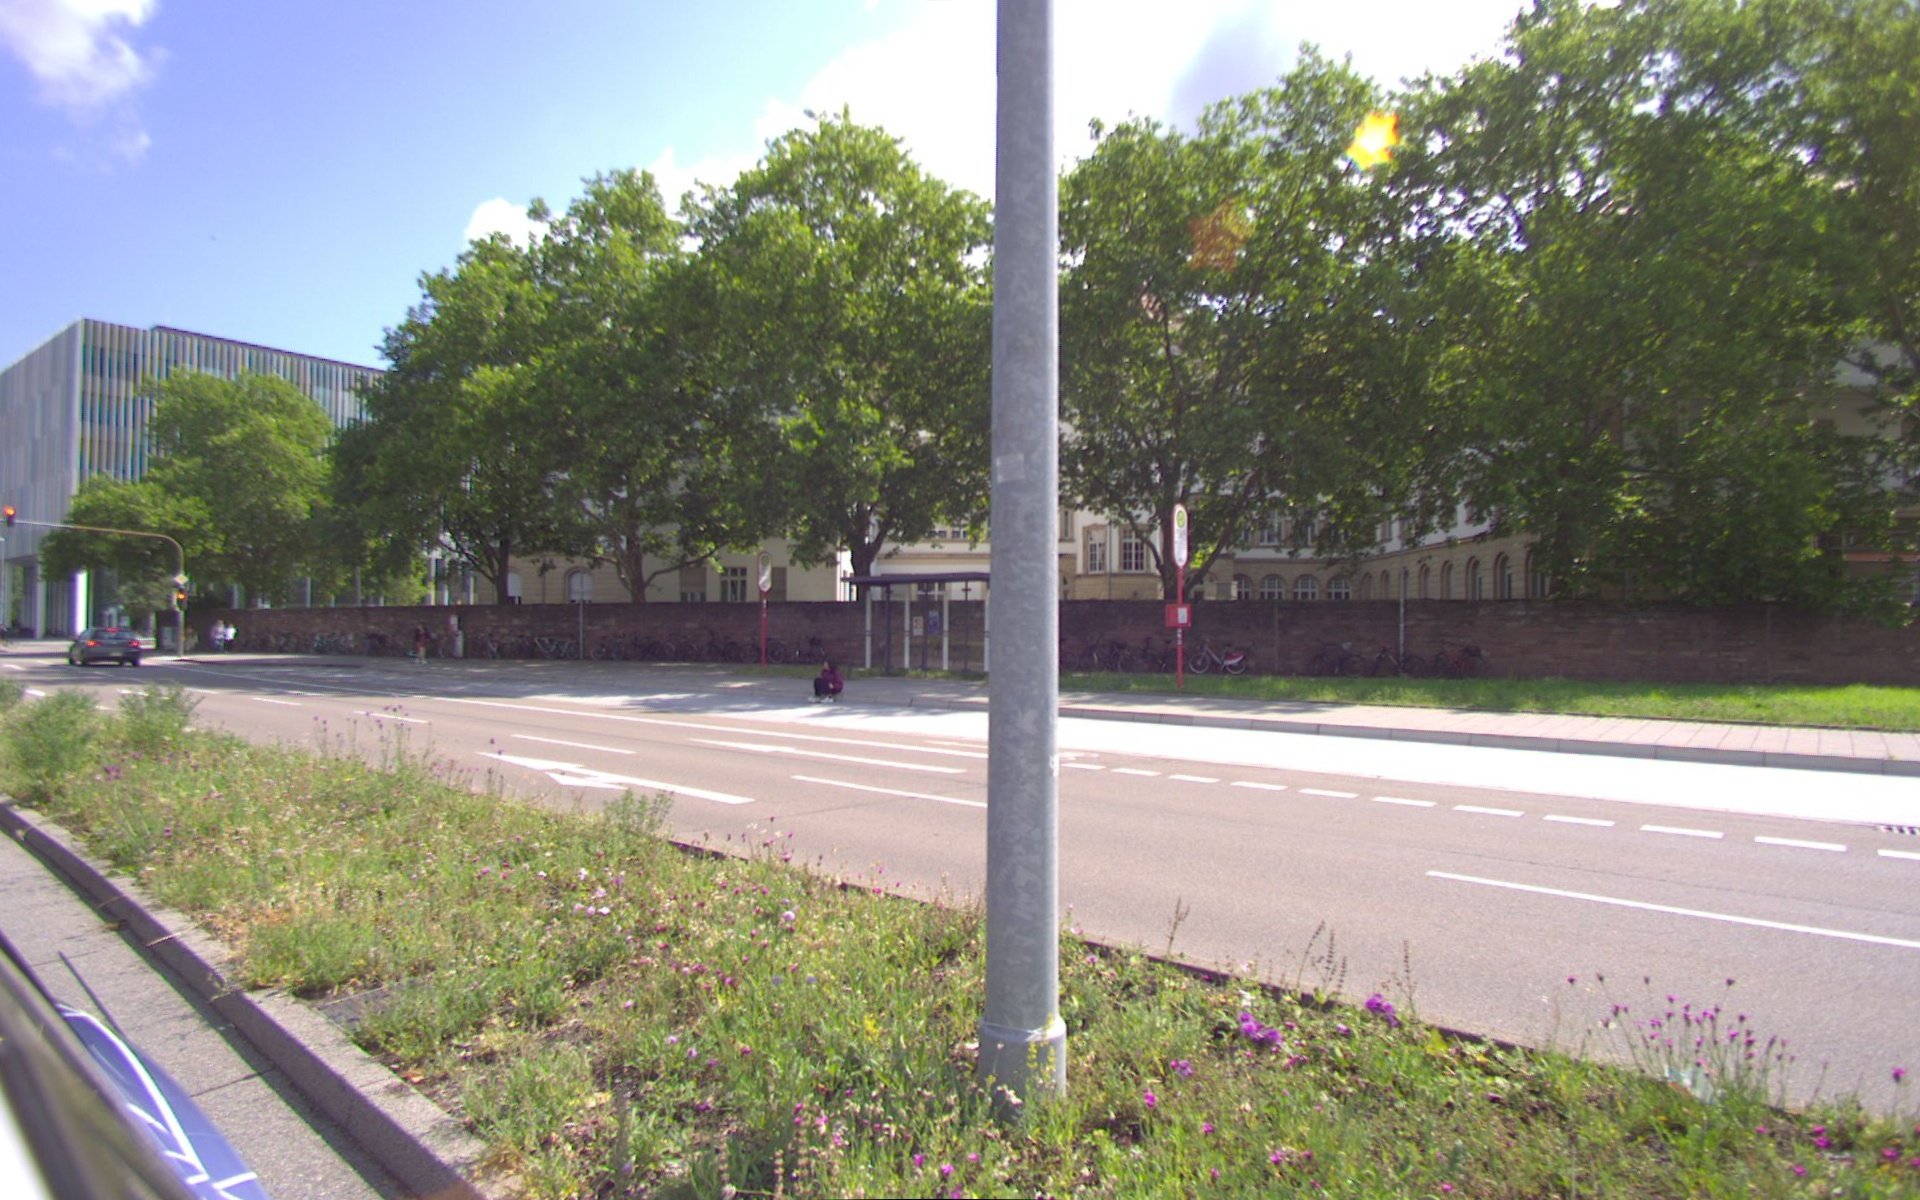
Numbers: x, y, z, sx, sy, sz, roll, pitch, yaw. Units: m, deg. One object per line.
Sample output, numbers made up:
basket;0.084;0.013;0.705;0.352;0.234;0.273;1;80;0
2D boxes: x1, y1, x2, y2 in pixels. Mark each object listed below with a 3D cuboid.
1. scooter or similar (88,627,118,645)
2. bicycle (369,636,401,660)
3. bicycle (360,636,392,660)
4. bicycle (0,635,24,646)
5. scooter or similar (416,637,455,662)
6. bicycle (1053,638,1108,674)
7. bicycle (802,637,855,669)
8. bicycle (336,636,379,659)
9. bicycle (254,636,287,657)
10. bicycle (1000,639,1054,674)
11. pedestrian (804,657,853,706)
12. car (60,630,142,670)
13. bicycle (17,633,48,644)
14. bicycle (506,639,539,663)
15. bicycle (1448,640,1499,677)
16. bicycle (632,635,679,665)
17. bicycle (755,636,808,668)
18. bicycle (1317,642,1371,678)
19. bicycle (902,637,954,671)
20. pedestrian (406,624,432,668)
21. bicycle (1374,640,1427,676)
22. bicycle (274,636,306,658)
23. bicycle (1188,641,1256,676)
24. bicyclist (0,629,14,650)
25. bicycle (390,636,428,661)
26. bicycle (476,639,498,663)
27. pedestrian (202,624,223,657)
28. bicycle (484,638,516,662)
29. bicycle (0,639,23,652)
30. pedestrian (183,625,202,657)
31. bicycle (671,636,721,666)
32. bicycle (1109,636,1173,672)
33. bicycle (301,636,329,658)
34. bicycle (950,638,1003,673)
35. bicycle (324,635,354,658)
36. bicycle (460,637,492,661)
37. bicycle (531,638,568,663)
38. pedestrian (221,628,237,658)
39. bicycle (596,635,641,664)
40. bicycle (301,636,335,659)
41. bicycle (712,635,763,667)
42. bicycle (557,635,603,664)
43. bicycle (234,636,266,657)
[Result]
scooter or similar;-57.837;2.439;68.315;0.498;1.166;1.496;-1;-2;12
bicycle;-25.901;2.144;45.577;1.874;1.056;0.391;-1;-2;31
bicycle;-26.114;2.150;45.227;1.874;1.056;0.370;-1;-2;31
bicycle;-102.197;4.331;108.744;0.720;1.105;2.194;-2;-2;32
scooter or similar;-22.556;2.103;43.490;1.874;1.056;0.576;-1;-2;31
bicycle;3.769;1.735;31.629;1.618;1.081;0.580;-1;-2;19
bicycle;-4.499;1.807;34.567;1.742;1.081;0.580;-1;-2;19
bicycle;-27.661;2.175;46.474;1.864;1.056;0.590;-1;-2;16
bicycle;-34.699;2.329;50.940;1.874;1.056;0.625;-1;-2;31
bicycle;2.128;1.783;32.182;1.618;1.081;0.580;-1;-2;19
pedestrian;-2.730;1.681;20.994;0.742;0.970;0.687;-2;-2;39
car;-32.885;1.895;38.731;4.142;1.456;1.683;-2;-4;40
bicycle;-92.714;3.824;101.190;0.720;1.105;2.194;-2;-2;32
bicycle;-17.655;2.055;40.840;1.394;0.962;0.364;-1;-2;25
bicycle;14.564;1.659;28.721;1.245;1.019;0.351;-1;-2;20
bicycle;-11.308;1.859;37.541;1.745;1.081;0.579;-1;-2;25
bicycle;-6.203;1.808;35.171;1.742;1.081;0.580;-1;-2;19
bicycle;11.179;1.750;29.520;1.445;1.019;0.469;-1;-2;20
bicycle;-1.052;1.773;33.228;1.618;1.081;0.580;-1;-2;19
pedestrian;-20.284;1.714;37.962;0.744;1.622;0.649;-2;-1;40
bicycle;12.687;1.655;29.179;1.359;1.019;0.389;-1;-2;20
bicycle;-33.043;2.315;49.893;1.874;1.056;0.560;-1;-2;31
bicycle;7.869;1.746;30.393;1.949;1.019;0.469;-1;-2;20
bicyclist;-65.962;2.715;69.755;0.930;1.475;0.634;0;-2;-18
bicycle;-24.261;2.130;44.543;1.874;1.056;0.576;-1;-2;31
bicycle;-19.130;2.061;40.940;0.362;0.962;1.627;1;-2;-41
pedestrian;-37.888;2.034;51.325;0.729;1.664;0.635;-2;-2;35
bicycle;-18.910;2.064;41.569;1.394;0.962;0.364;-1;-2;25
bicycle;-65.871;3.115;69.774;1.745;0.899;0.640;0;-2;-18
pedestrian;-40.711;2.174;53.678;0.725;1.664;0.555;-2;-2;35
bicycle;-9.571;1.841;36.679;1.745;1.081;0.579;-1;-2;24
bicycle;5.539;1.644;30.989;1.858;1.081;0.579;-1;-2;24
bicycle;-31.067;2.251;48.735;1.874;1.056;0.367;-1;-2;31
bicycle;0.544;1.787;32.706;1.618;1.081;0.580;-1;-2;19
bicycle;-29.185;2.195;47.576;1.874;1.056;0.367;-1;-2;31
bicycle;-20.183;2.037;42.195;1.394;0.962;0.364;-1;-2;25
bicycle;-16.226;2.004;40.011;1.617;0.962;0.368;-1;-2;25
pedestrian;-37.497;2.201;51.904;0.615;1.551;0.472;-2;-2;35
bicycle;-12.895;1.856;38.257;1.643;1.084;0.626;-1;-2;25
bicycle;-30.156;2.220;47.527;1.874;1.056;0.587;-1;-2;31
bicycle;-7.883;1.802;35.882;1.742;1.081;0.580;-1;-2;19
bicycle;-14.681;1.910;39.096;1.745;1.081;0.579;-1;-2;25
bicycle;-36.498;2.400;52.017;1.874;1.056;0.625;-1;-2;31
